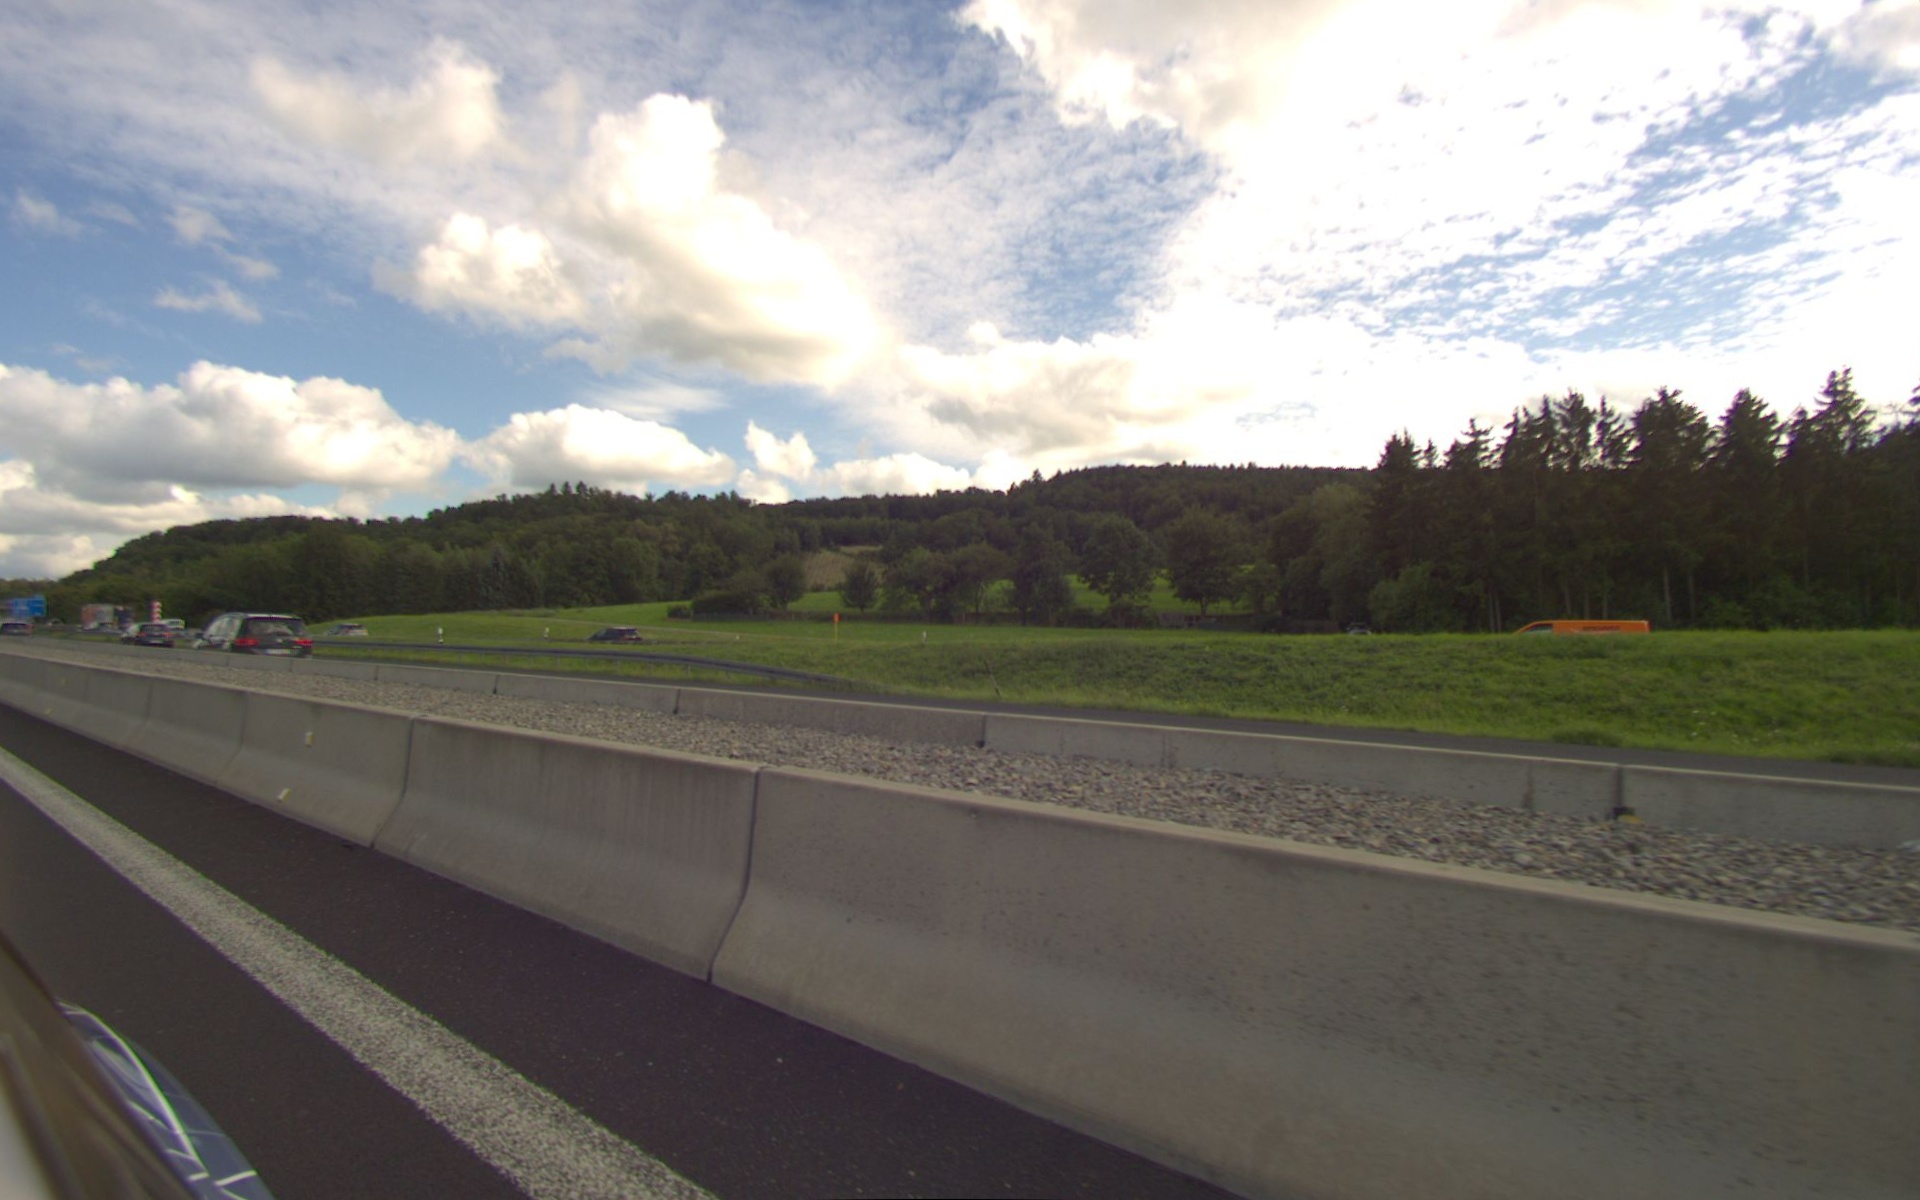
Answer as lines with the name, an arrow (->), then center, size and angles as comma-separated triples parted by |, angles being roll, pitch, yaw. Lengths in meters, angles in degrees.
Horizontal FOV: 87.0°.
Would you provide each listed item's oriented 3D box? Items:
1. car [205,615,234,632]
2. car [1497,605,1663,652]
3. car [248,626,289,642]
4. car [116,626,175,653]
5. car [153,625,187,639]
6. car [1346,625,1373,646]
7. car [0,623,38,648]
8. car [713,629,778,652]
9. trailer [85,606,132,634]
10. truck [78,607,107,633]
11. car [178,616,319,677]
car -> -94.498, 3.018, 129.139 | 3.993, 2.029, 1.975 | -1, -3, 37
car -> 21.667, 1.002, 35.467 | 4.879, 1.560, 1.757 | -1, -3, 36
car -> -67.587, 3.315, 98.921 | 4.879, 1.560, 1.757 | -1, -3, 36
car -> -43.519, 2.097, 54.055 | 4.155, 1.409, 1.710 | -1, -3, 41
car -> -91.706, 3.677, 117.498 | 4.879, 1.560, 1.757 | -1, -3, 36
car -> 34.166, 2.983, 86.625 | 1.985, 1.697, 3.974 | -1, -1, 19
car -> -55.849, 2.065, 59.729 | 3.739, 1.409, 1.625 | -1, -3, 41
car -> -15.516, 2.946, 73.175 | 4.879, 1.560, 1.757 | -1, -3, 36
trailer -> -119.134, 2.832, 141.469 | 13.222, 3.765, 1.975 | -1, -3, 37
truck -> -125.042, 2.893, 145.895 | 5.140, 3.790, 1.975 | -1, -3, 36
car -> -18.050, 1.131, 25.593 | 4.722, 1.409, 1.769 | -1, -3, 41
